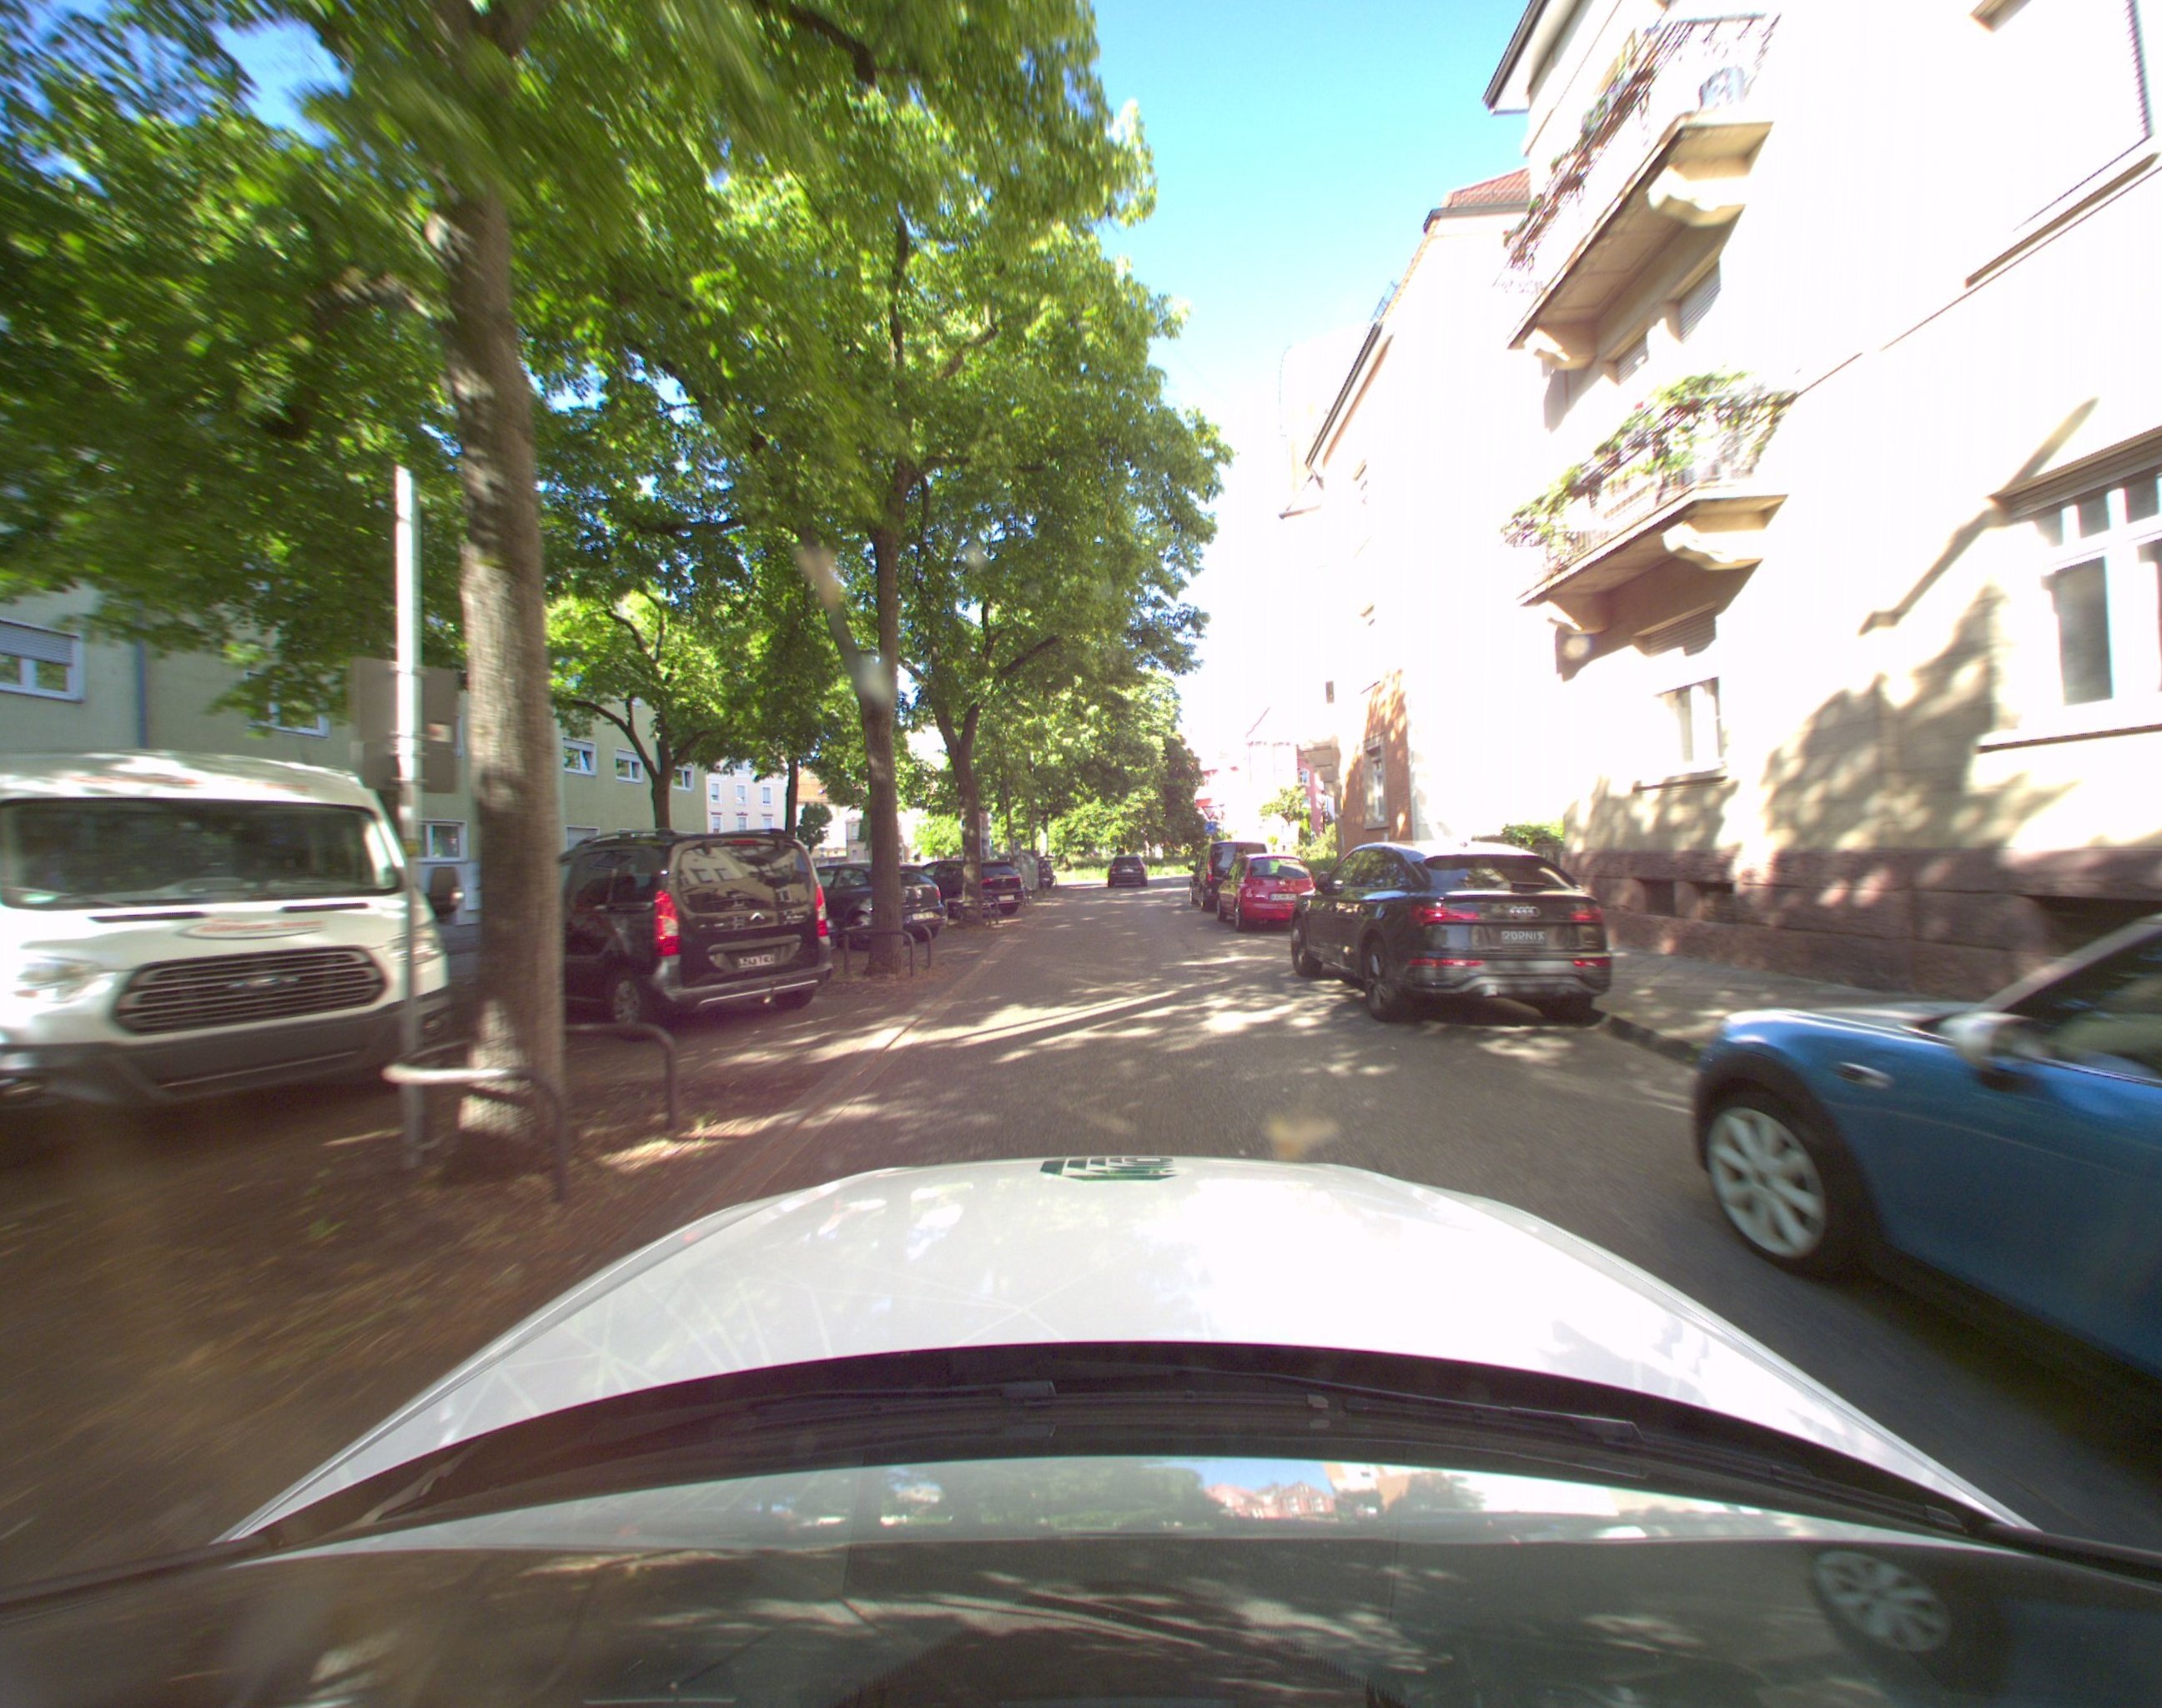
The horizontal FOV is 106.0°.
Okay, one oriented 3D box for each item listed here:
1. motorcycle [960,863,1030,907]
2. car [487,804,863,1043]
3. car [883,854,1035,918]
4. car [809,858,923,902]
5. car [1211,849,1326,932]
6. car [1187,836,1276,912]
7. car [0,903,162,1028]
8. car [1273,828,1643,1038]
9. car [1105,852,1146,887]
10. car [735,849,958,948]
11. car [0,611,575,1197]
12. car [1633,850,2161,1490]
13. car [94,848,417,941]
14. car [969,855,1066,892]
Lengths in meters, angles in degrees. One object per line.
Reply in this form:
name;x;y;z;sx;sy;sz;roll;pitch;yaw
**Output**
motorcycle;-2.526;0.909;23.962;1.929;1.171;0.519;-3;0;5
car;-4.233;0.565;8.305;3.801;1.888;1.856;-2;1;37
car;-3.211;0.790;20.919;1.877;1.466;4.052;1;-2;-43
car;-8.195;0.979;31.131;3.761;1.466;1.651;-3;0;14
car;3.844;0.688;17.324;1.639;1.537;4.002;1;0;2
car;4.038;0.510;22.498;1.794;1.871;4.275;1;0;2
car;-15.075;1.523;10.218;1.765;1.517;4.593;0;0;2
car;3.526;0.628;8.704;1.858;1.643;4.490;0;0;0
car;2.088;0.676;37.826;1.707;1.483;4.148;-3;0;3
car;-4.223;0.756;14.579;3.690;1.582;1.646;-2;-1;28
car;-6.734;0.341;6.249;6.006;2.623;2.471;-3;-2;33
car;3.186;0.697;1.829;1.583;1.415;3.635;0;0;3
car;-14.924;0.649;15.128;1.768;1.494;4.145;0;0;0
car;-2.768;0.843;34.793;4.089;1.481;1.787;-2;-2;42
